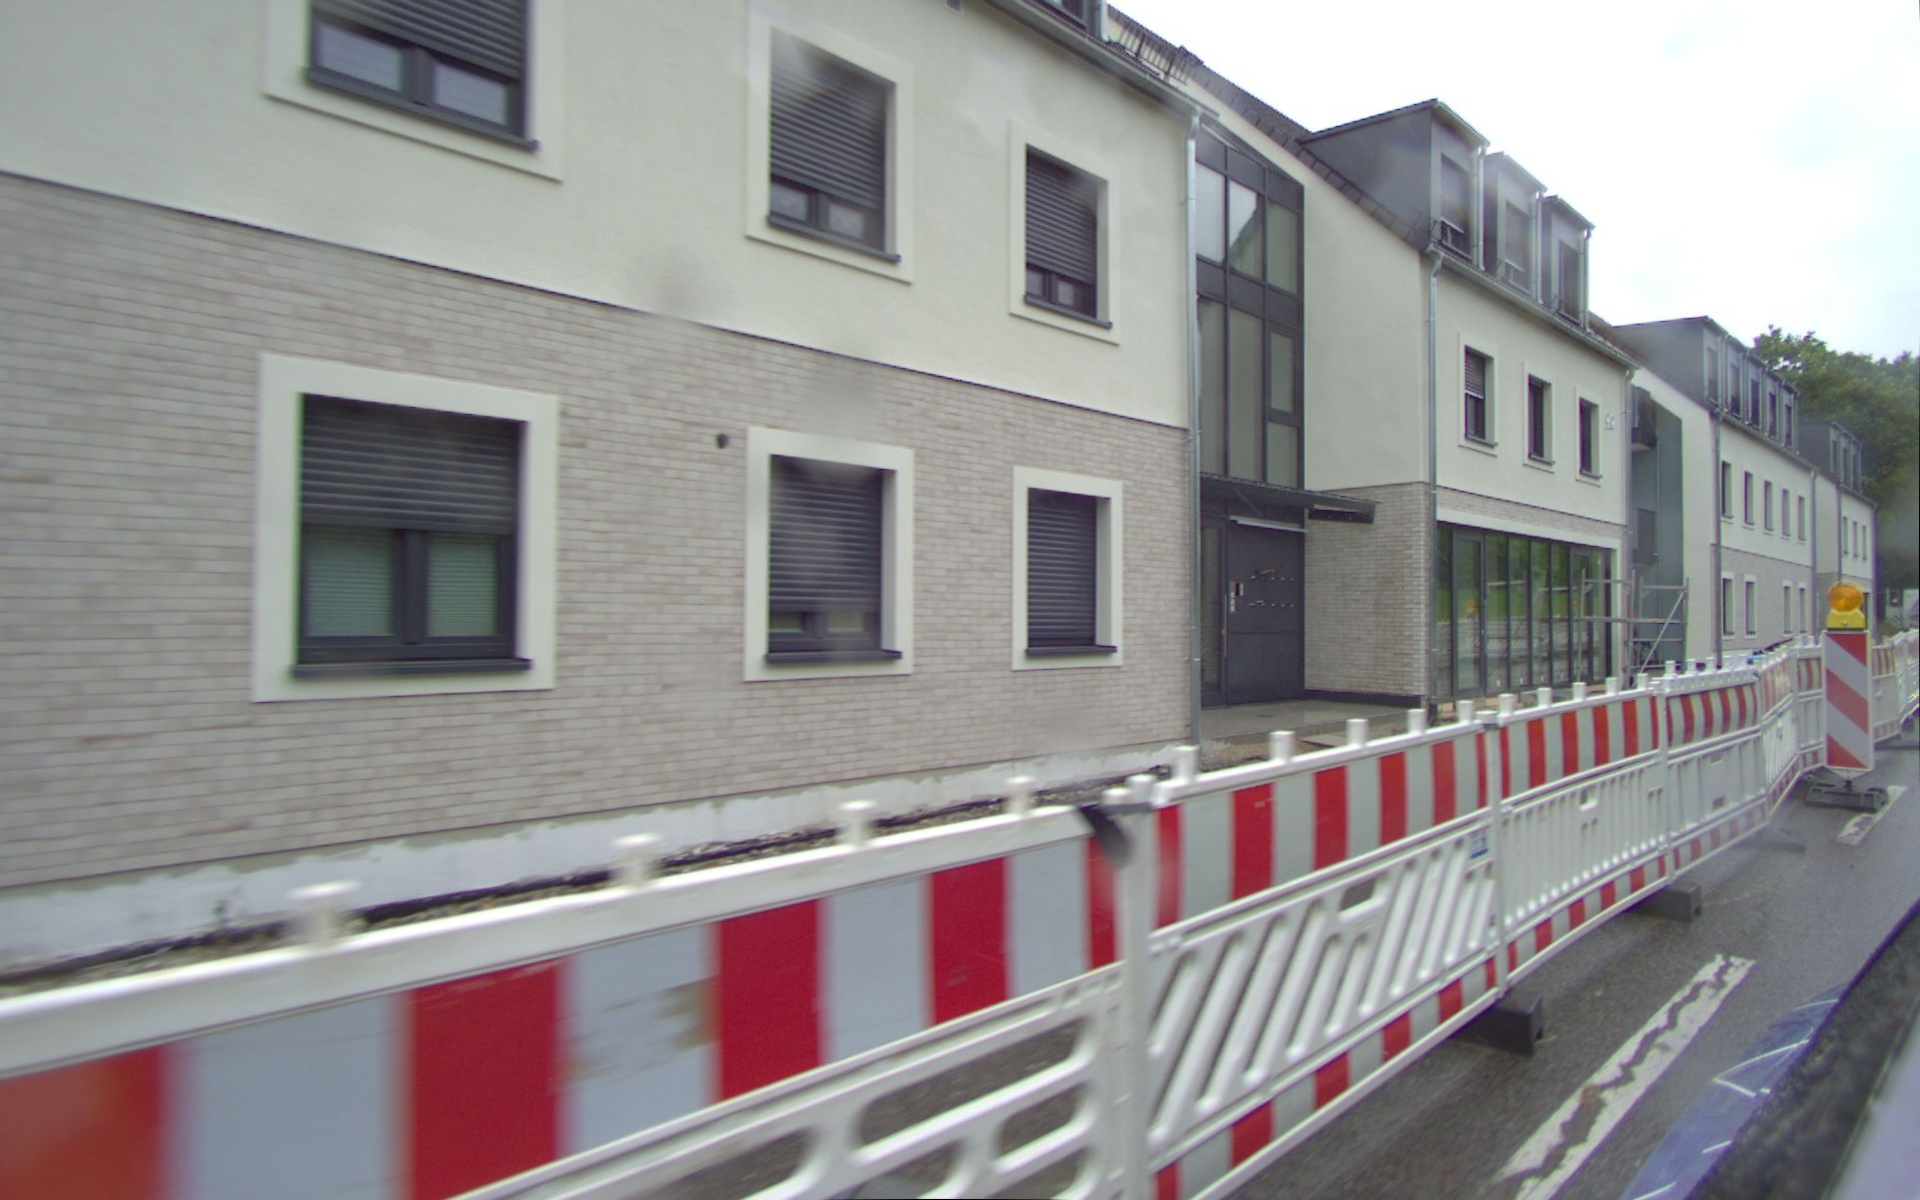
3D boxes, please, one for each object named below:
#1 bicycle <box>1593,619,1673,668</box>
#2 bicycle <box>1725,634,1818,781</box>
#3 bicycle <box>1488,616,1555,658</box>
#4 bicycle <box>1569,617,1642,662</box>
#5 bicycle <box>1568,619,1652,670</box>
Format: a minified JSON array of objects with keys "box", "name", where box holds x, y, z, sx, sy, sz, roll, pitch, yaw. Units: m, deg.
[{"box":[15.518,0.984,23.370,1.522,1.066,0.445,0,0,31],"name":"bicycle"},{"box":[7.098,0.901,8.842,1.199,1.158,0.406,0,0,-40],"name":"bicycle"},{"box":[14.831,0.964,26.747,1.504,1.091,0.489,0,0,-2],"name":"bicycle"},{"box":[16.055,0.982,25.179,1.504,1.091,0.489,0,0,-2],"name":"bicycle"},{"box":[14.730,0.985,22.962,0.442,1.066,1.532,0,0,-40],"name":"bicycle"}]
